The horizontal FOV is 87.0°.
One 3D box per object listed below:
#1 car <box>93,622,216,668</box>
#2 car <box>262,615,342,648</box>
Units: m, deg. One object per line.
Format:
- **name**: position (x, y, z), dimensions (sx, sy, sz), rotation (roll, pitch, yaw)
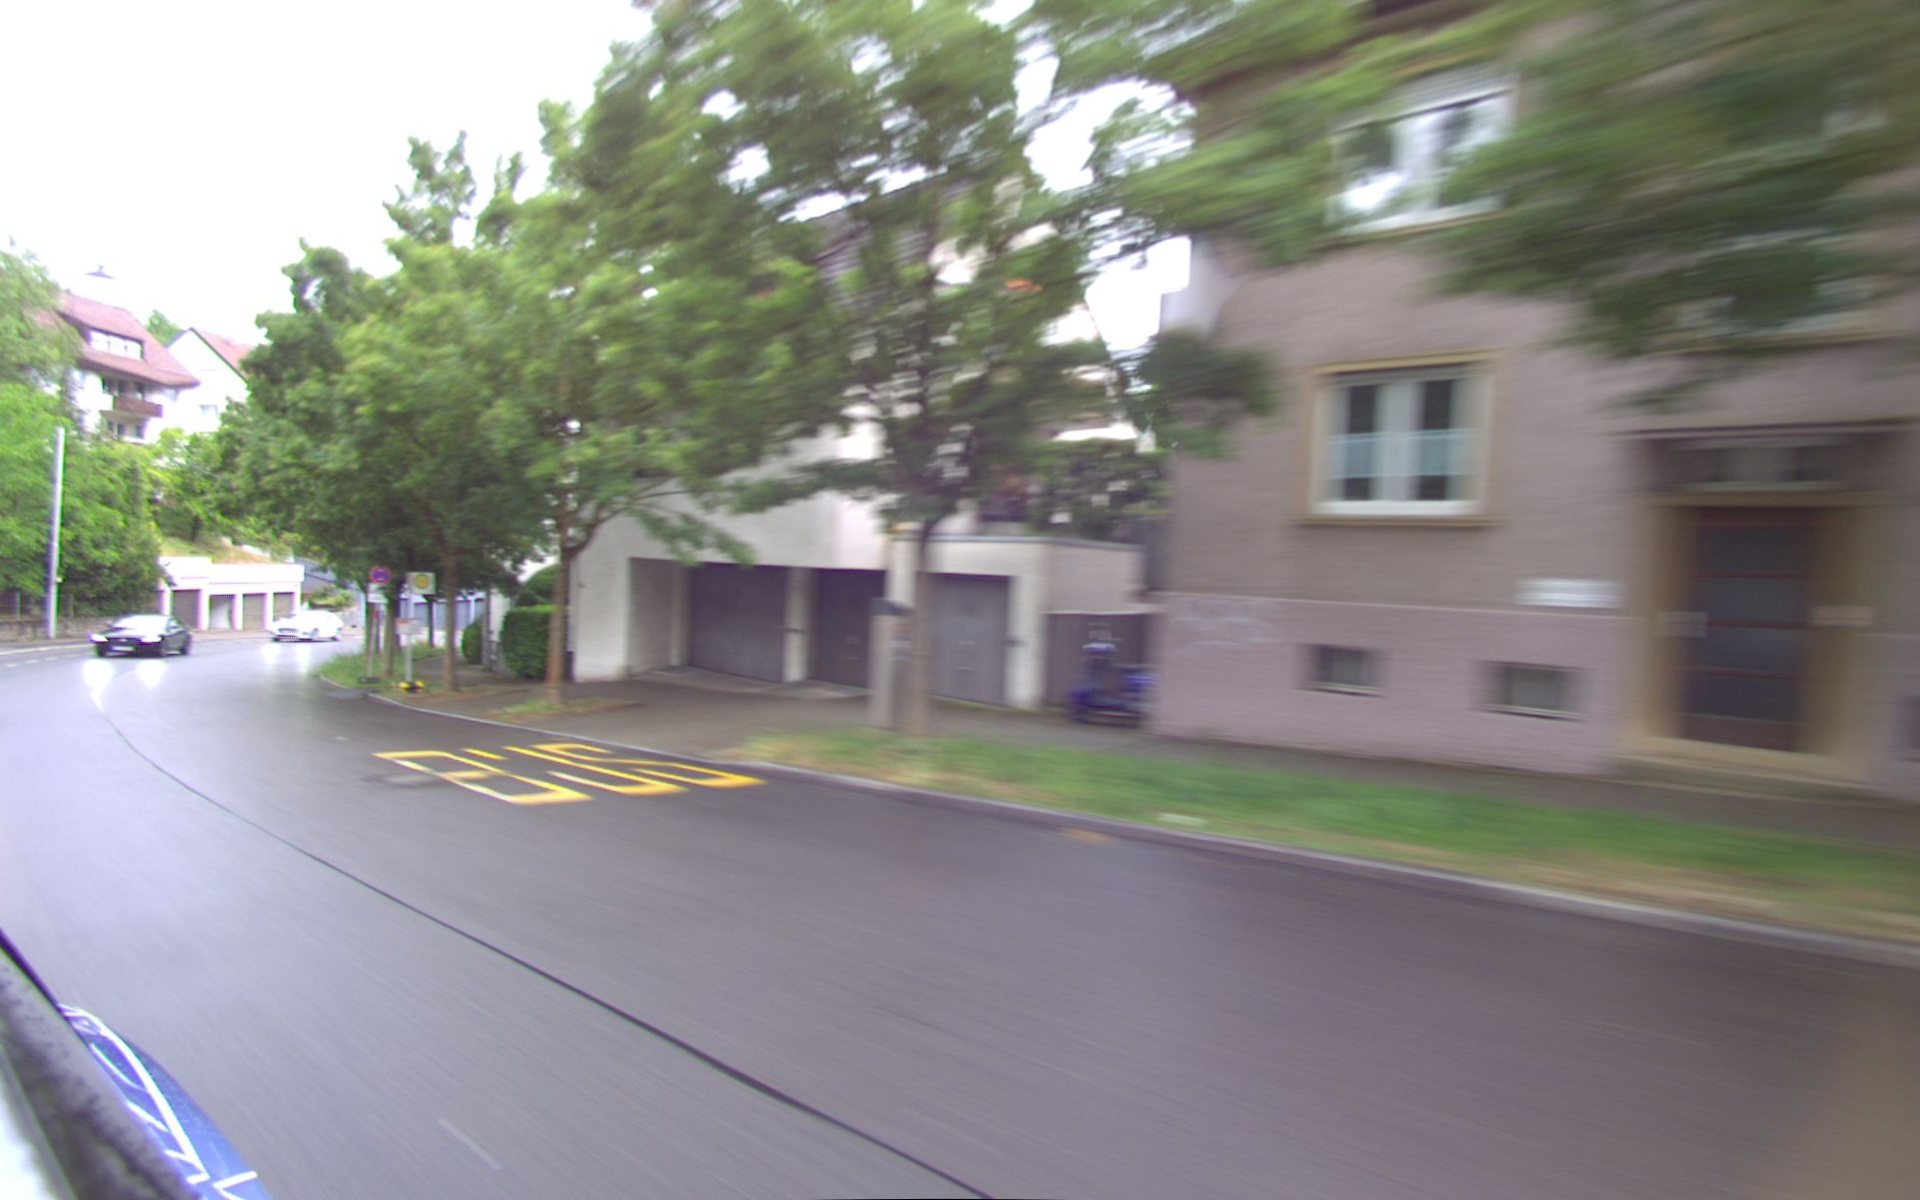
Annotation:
- **car**: position (-27.868, 1.526, 35.167), dimensions (1.778, 1.500, 4.027), rotation (1, -2, -14)
- **car**: position (-35.132, 1.681, 54.190), dimensions (1.981, 1.674, 4.455), rotation (1, -2, -10)
